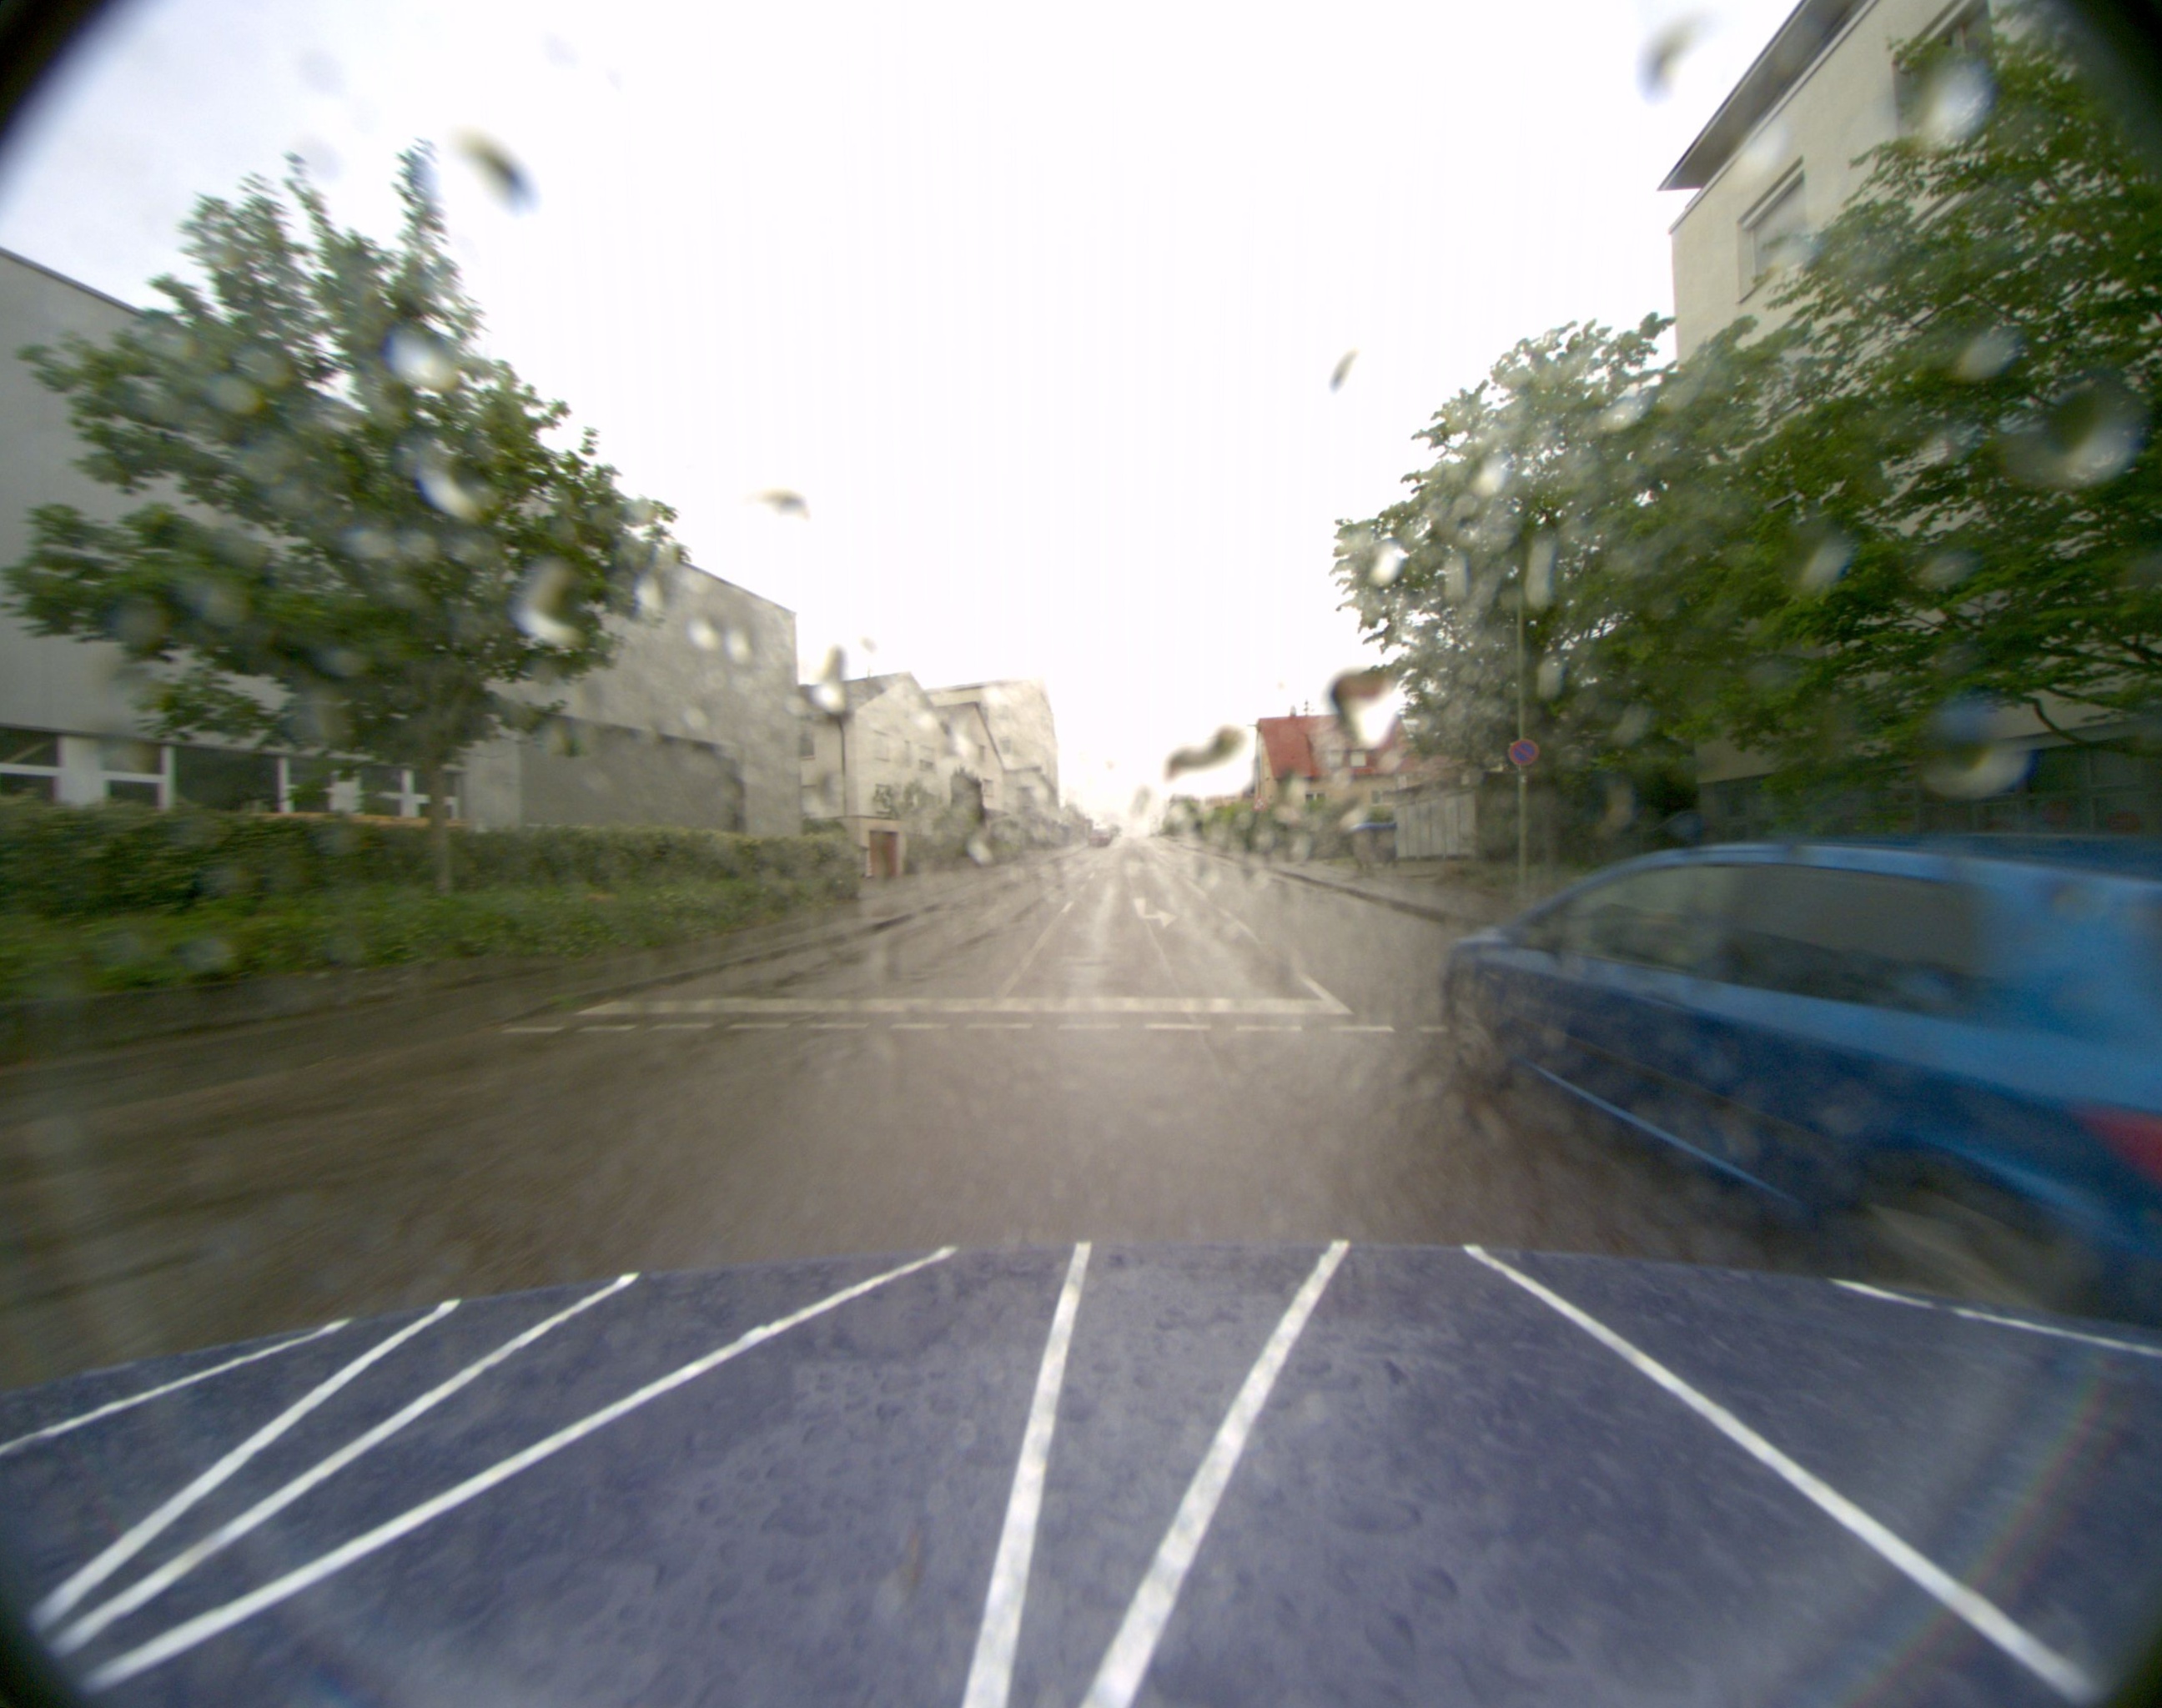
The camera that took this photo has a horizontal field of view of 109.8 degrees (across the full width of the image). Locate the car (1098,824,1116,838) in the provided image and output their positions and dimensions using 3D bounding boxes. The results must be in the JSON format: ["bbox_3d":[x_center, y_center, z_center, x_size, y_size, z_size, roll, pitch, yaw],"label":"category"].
[{"bbox_3d":[2.938,-2.567,85.682,1.847,1.515,4.000,-2,2,5],"label":"car"}]

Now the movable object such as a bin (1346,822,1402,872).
[{"bbox_3d":[8.401,-0.203,21.855,1.056,1.289,1.201,-7,1,4],"label":"movable object such as a bin"}]

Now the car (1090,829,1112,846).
[{"bbox_3d":[1.957,-1.602,73.119,1.847,1.515,4.000,-2,2,5],"label":"car"}]

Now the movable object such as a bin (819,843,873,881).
[{"bbox_3d":[-9.821,0.337,31.776,1.445,1.526,1.591,-1,1,19],"label":"movable object such as a bin"}]

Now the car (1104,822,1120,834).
[{"bbox_3d":[3.999,-3.335,97.672,1.847,1.515,4.000,-2,2,5],"label":"car"}]

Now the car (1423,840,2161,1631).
[{"bbox_3d":[3.074,0.757,2.915,1.771,1.437,3.998,-2,3,1],"label":"car"}]

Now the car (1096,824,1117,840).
[{"bbox_3d":[2.634,-2.310,78.182,1.847,1.515,4.000,-2,2,5],"label":"car"}]
